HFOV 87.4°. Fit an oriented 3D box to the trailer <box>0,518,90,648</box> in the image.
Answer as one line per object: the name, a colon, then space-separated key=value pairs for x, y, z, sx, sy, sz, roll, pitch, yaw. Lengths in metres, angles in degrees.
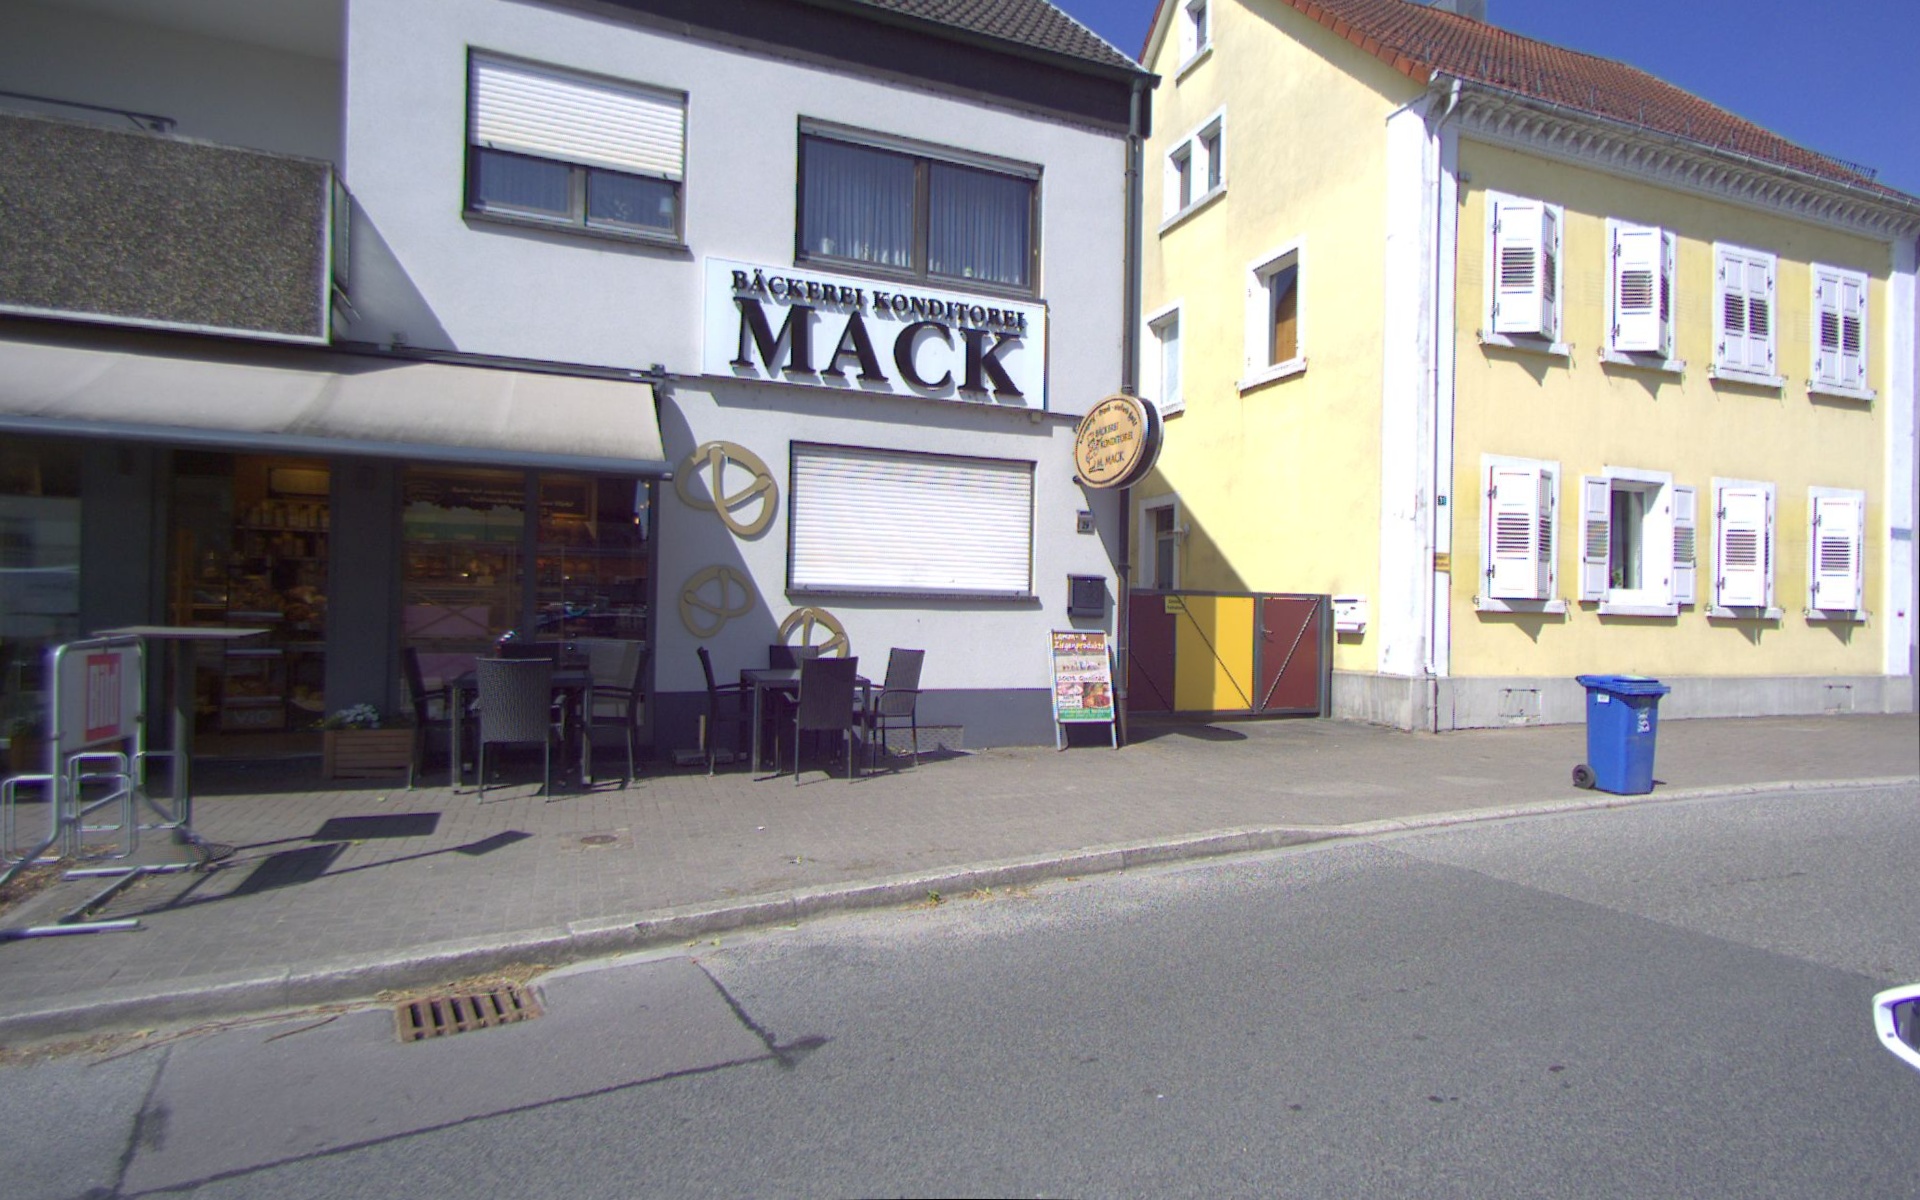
trailer: x=-21.406 y=-0.388 z=22.003 sx=2.025 sy=2.708 sz=3.985 roll=2 pitch=-1 yaw=-17

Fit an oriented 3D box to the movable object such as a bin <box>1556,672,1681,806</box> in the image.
movable object such as a bin: x=5.380 y=1.108 z=8.219 sx=0.606 sy=0.994 sz=0.640 roll=1 pitch=0 yaw=-29
